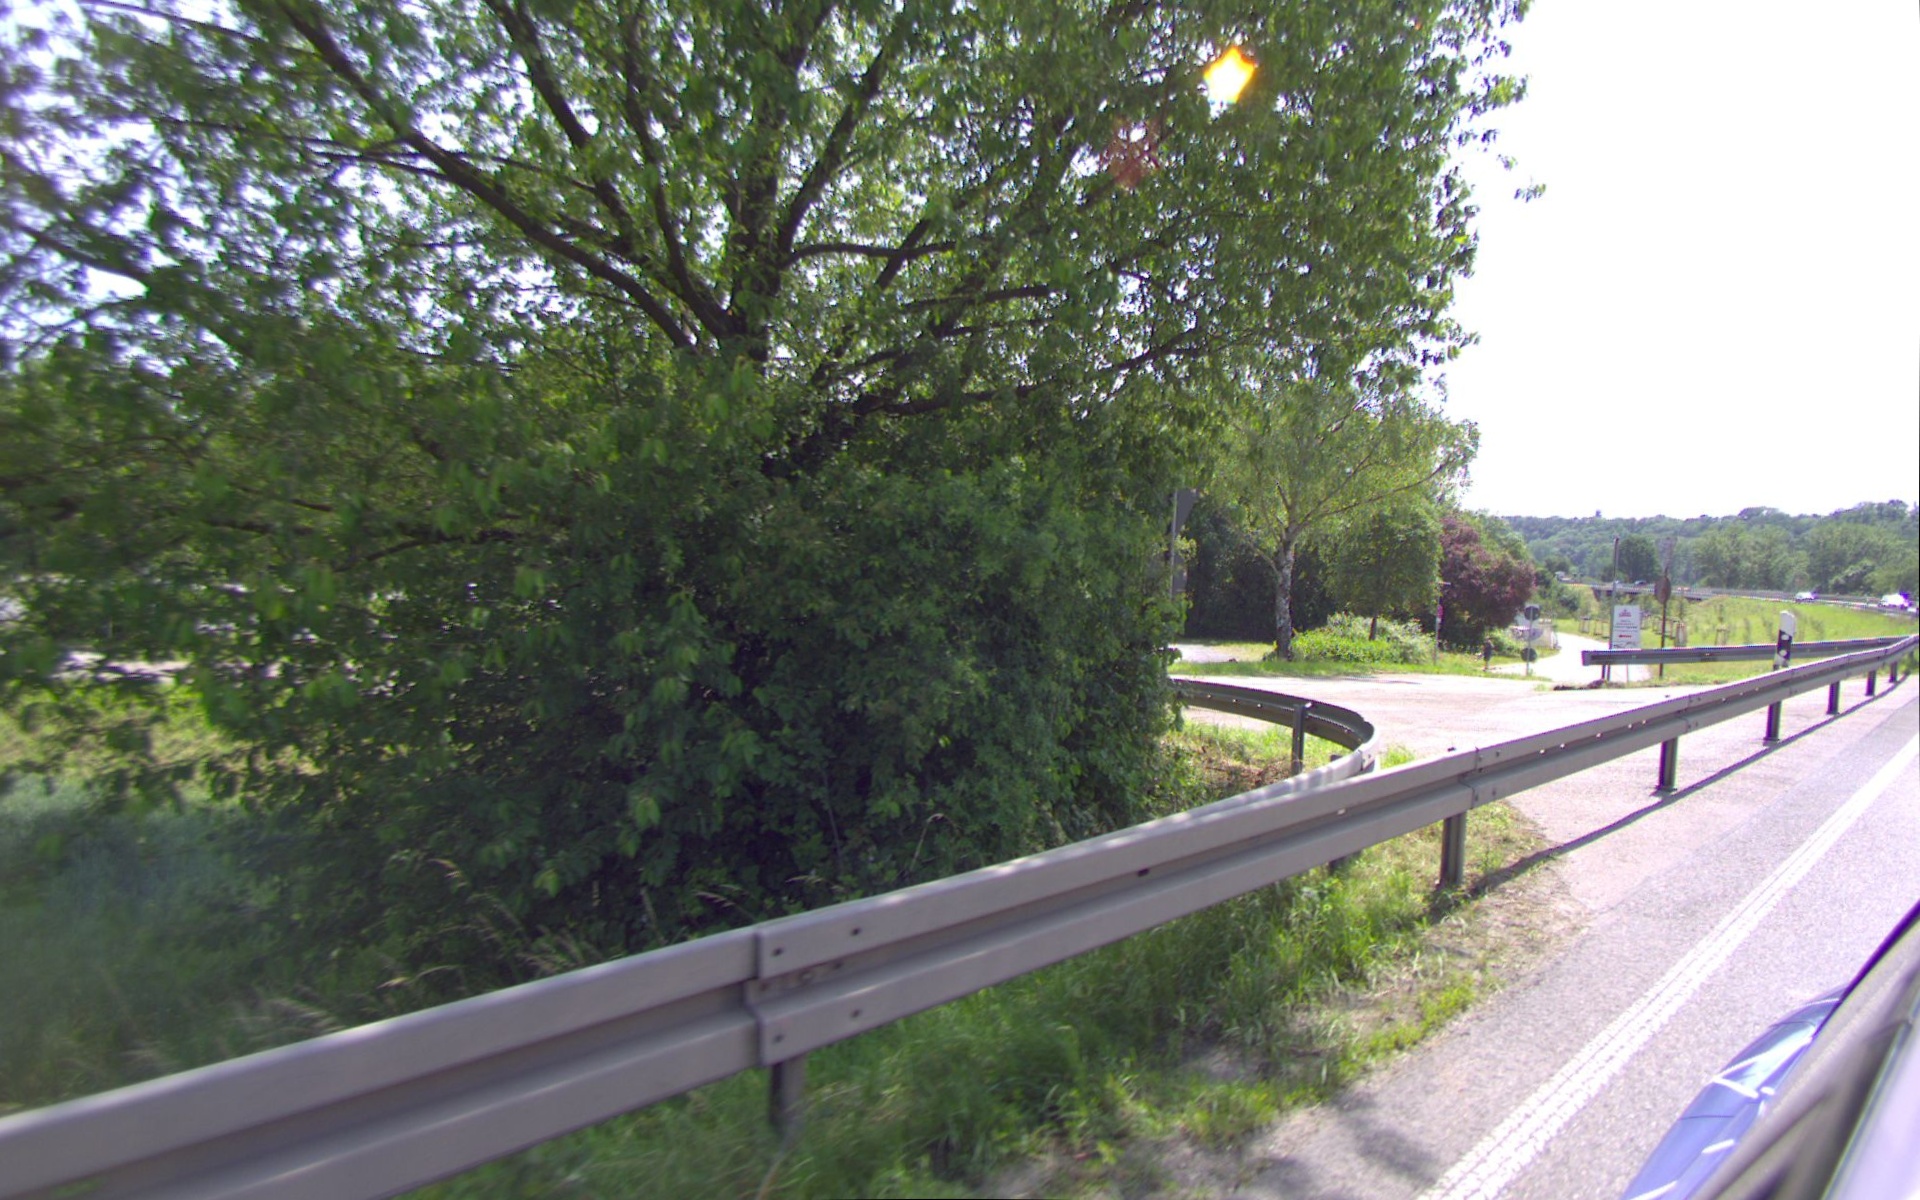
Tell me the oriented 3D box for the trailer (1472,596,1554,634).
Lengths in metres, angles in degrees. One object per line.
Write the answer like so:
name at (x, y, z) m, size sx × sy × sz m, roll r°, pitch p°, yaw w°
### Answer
trailer at (55.265, 1.413, 101.625) m, size 2.679 × 3.369 × 11.879 m, roll 0°, pitch 1°, yaw 5°

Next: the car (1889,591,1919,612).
car at (89.150, 0.110, 95.328) m, size 1.970 × 1.753 × 3.949 m, roll 1°, pitch 3°, yaw 36°

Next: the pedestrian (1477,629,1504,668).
pedestrian at (26.414, 2.390, 50.353) m, size 0.885 × 1.833 × 0.944 m, roll 5°, pitch 3°, yaw 43°
